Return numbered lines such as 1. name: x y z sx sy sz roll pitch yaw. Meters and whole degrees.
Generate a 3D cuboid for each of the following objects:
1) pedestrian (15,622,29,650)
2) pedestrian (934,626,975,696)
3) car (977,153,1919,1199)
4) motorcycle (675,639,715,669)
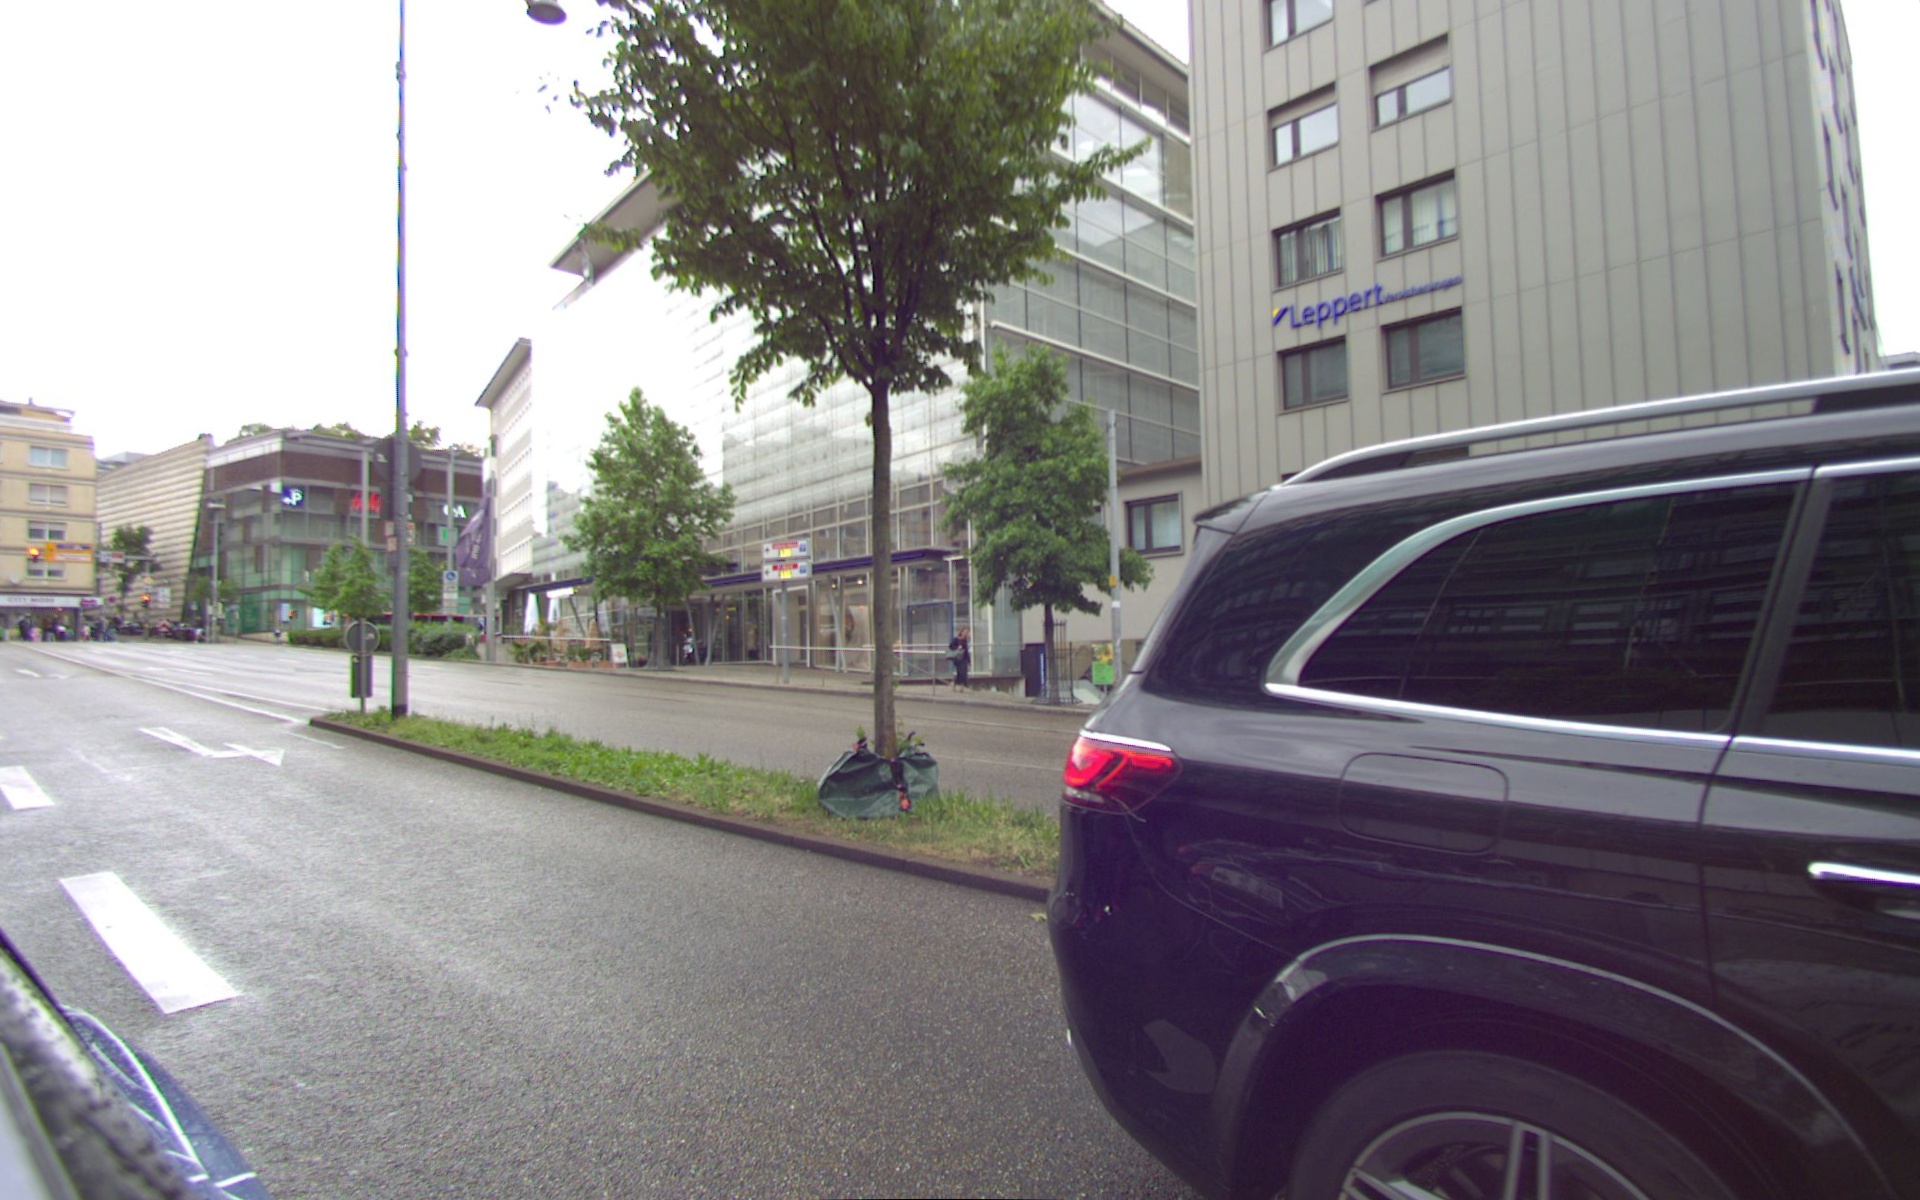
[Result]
1. pedestrian: -60.271 2.288 65.008 0.618 1.788 0.689 0 0 -45
2. pedestrian: -0.136 1.470 24.747 0.626 1.649 0.791 0 0 -41
3. car: 2.543 0.408 1.204 5.072 1.884 1.891 0 0 42
4. motorcycle: -12.050 2.463 46.097 0.620 1.336 1.685 -1 -3 41
